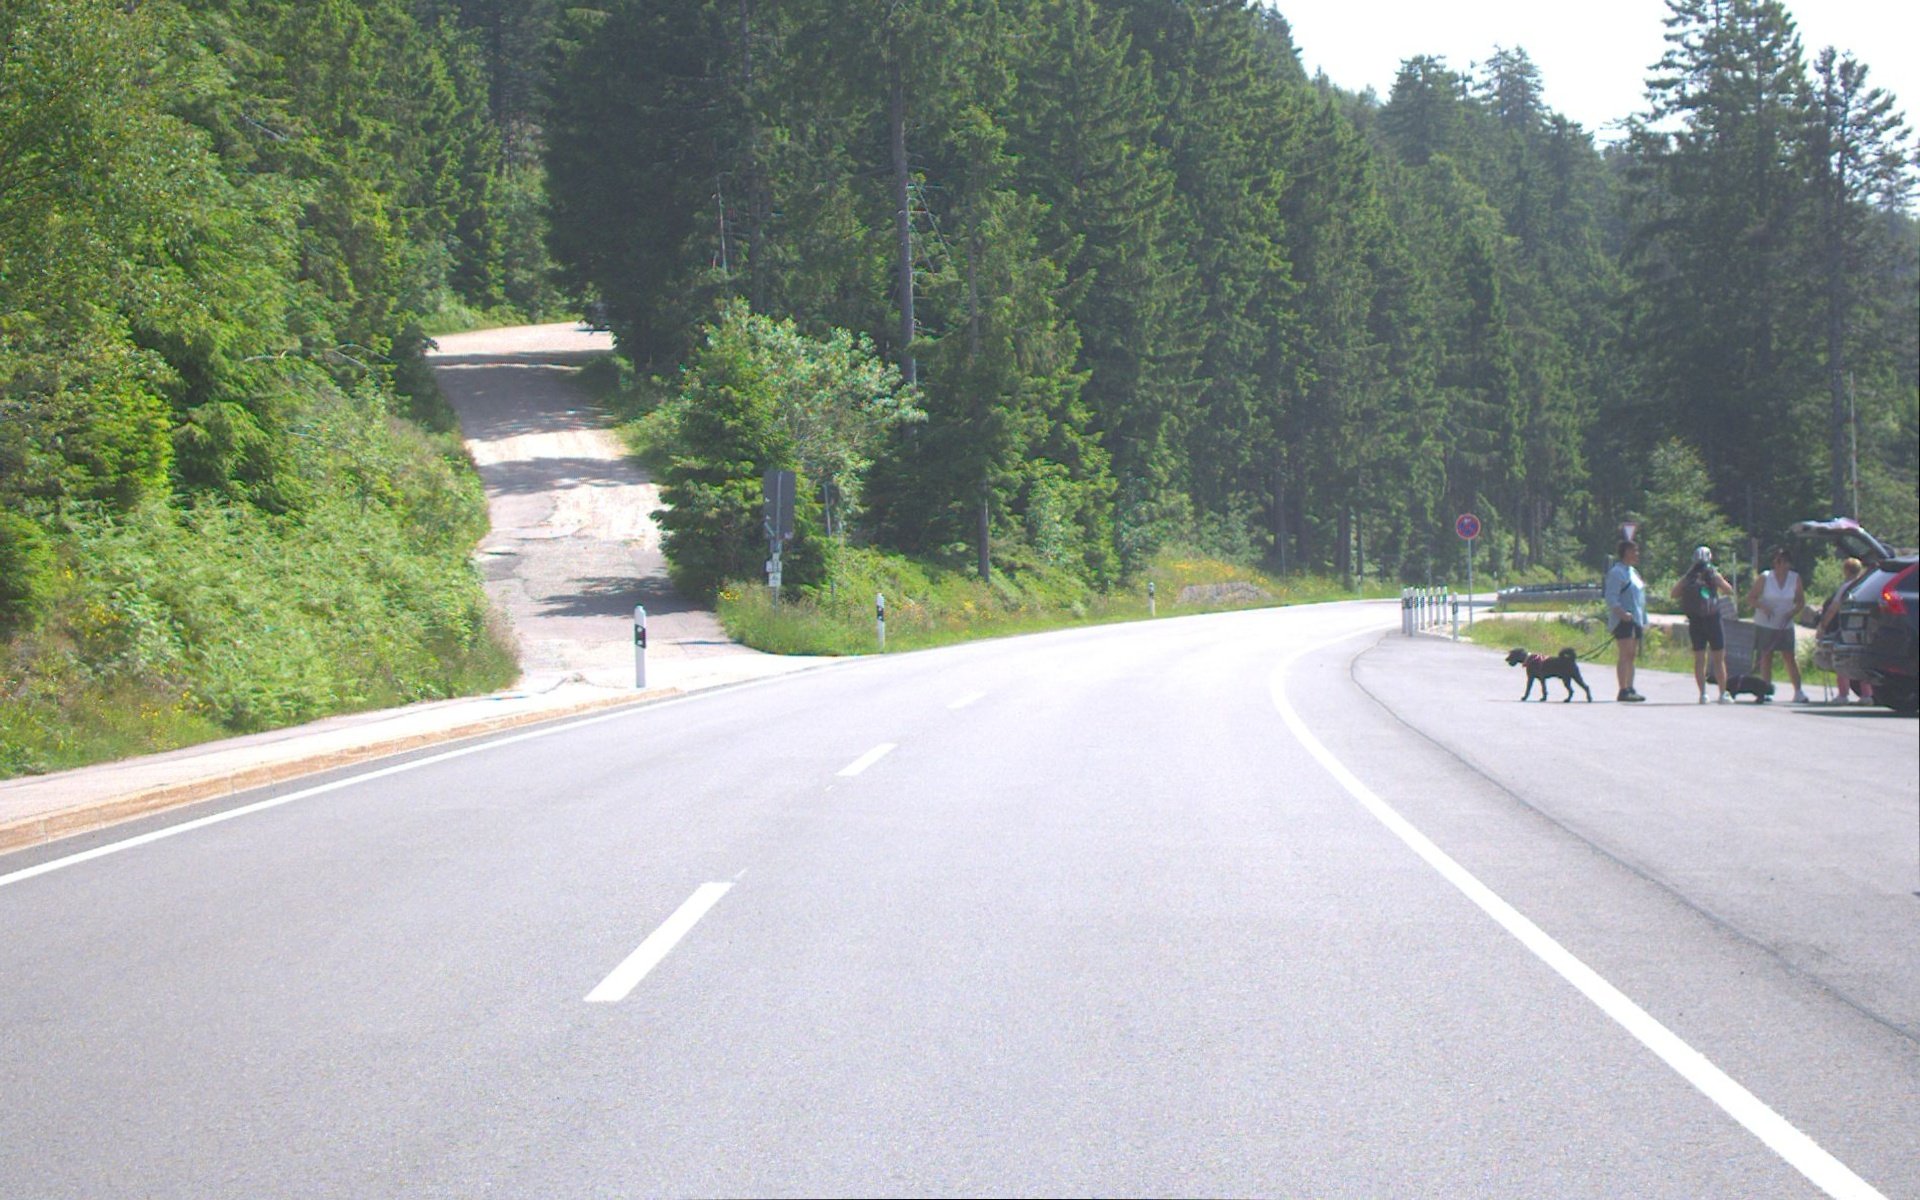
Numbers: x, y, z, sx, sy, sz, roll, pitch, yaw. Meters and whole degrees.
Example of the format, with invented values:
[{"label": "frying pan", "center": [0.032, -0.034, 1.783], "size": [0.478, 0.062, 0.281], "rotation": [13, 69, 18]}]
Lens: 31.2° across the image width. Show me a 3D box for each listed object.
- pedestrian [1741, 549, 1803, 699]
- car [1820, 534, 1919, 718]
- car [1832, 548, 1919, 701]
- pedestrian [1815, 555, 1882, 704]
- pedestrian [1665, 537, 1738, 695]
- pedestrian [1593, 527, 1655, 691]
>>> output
[{"label": "pedestrian", "center": [9.174, 0.270, 38.824], "size": [0.653, 1.654, 0.687], "rotation": [-1, 2, 14]}, {"label": "car", "center": [11.196, 0.243, 35.206], "size": [4.263, 1.787, 1.892], "rotation": [0, 2, -1]}, {"label": "car", "center": [11.895, 0.301, 38.370], "size": [3.816, 1.655, 1.653], "rotation": [2, 1, -3]}, {"label": "pedestrian", "center": [9.662, 0.317, 37.381], "size": [0.617, 1.582, 0.735], "rotation": [-1, 2, 20]}, {"label": "pedestrian", "center": [8.005, 0.163, 37.130], "size": [0.716, 1.686, 0.619], "rotation": [0, 1, 8]}, {"label": "pedestrian", "center": [7.264, 0.093, 37.625], "size": [0.617, 1.769, 0.723], "rotation": [0, 1, 8]}]
